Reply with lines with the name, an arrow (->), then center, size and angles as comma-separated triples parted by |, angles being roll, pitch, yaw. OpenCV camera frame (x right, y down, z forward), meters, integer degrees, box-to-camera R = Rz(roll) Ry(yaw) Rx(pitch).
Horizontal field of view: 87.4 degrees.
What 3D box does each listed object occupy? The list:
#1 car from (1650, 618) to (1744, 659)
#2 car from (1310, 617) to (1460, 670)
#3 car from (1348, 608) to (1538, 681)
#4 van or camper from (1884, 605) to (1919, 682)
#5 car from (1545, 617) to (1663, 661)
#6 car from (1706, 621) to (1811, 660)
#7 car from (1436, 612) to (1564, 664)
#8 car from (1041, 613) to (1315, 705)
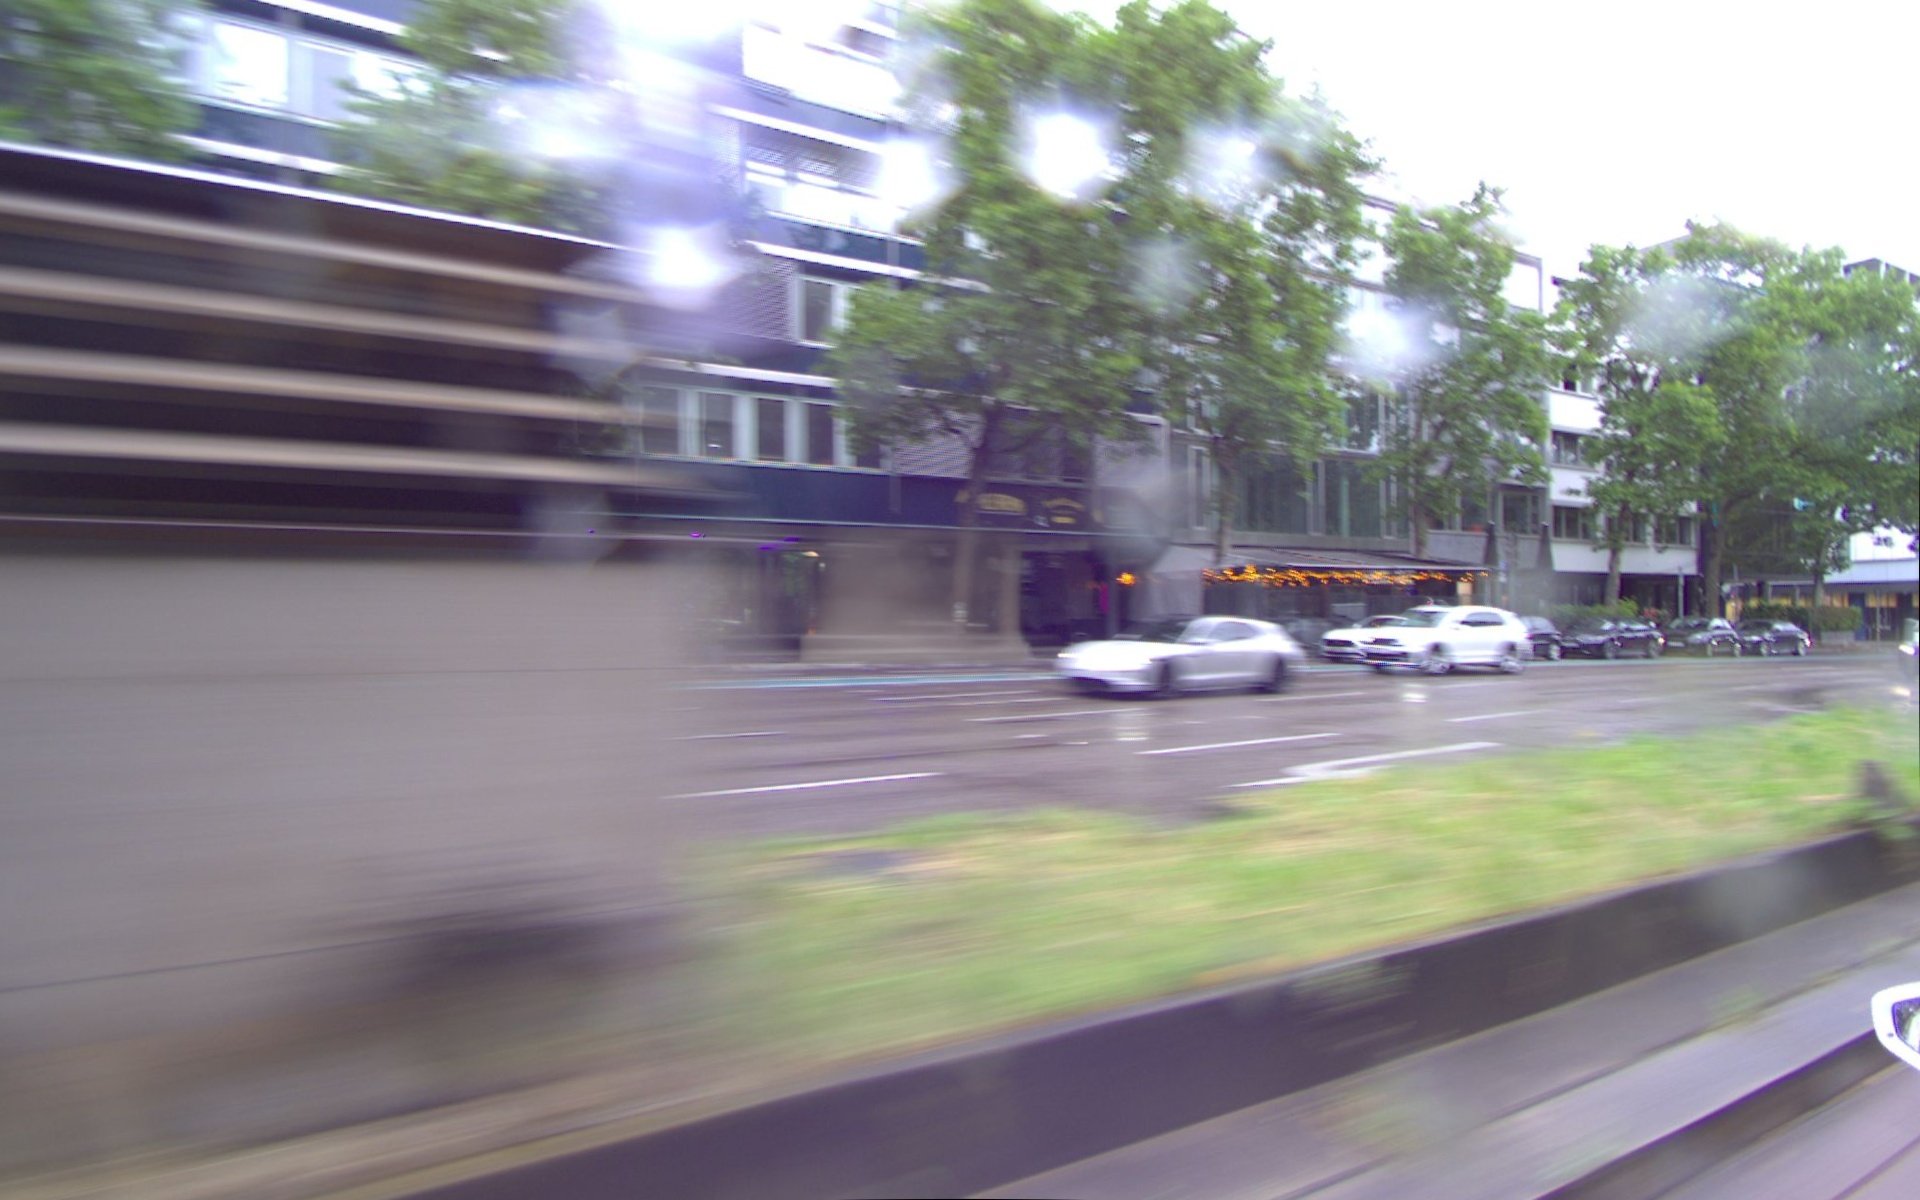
car -> 27.920, 1.420, 38.049 | 3.419, 1.488, 1.685 | 0, 0, -30
car -> 12.376, 1.205, 29.171 | 4.627, 1.371, 1.552 | 0, 1, -30
car -> 11.895, 1.039, 24.716 | 4.484, 1.636, 1.756 | 0, 1, -24
van or camper -> 26.495, 1.122, 26.287 | 5.189, 1.939, 1.984 | 0, 0, -30
car -> 22.418, 1.326, 34.930 | 4.404, 1.428, 1.685 | 1, 0, -30
car -> 32.225, 1.597, 40.508 | 4.847, 1.428, 1.685 | 1, 0, -31
car -> 17.185, 1.168, 31.940 | 3.953, 1.528, 1.828 | 0, 0, -30
car -> 3.973, 0.956, 17.966 | 4.904, 1.428, 1.955 | 1, 0, -33
